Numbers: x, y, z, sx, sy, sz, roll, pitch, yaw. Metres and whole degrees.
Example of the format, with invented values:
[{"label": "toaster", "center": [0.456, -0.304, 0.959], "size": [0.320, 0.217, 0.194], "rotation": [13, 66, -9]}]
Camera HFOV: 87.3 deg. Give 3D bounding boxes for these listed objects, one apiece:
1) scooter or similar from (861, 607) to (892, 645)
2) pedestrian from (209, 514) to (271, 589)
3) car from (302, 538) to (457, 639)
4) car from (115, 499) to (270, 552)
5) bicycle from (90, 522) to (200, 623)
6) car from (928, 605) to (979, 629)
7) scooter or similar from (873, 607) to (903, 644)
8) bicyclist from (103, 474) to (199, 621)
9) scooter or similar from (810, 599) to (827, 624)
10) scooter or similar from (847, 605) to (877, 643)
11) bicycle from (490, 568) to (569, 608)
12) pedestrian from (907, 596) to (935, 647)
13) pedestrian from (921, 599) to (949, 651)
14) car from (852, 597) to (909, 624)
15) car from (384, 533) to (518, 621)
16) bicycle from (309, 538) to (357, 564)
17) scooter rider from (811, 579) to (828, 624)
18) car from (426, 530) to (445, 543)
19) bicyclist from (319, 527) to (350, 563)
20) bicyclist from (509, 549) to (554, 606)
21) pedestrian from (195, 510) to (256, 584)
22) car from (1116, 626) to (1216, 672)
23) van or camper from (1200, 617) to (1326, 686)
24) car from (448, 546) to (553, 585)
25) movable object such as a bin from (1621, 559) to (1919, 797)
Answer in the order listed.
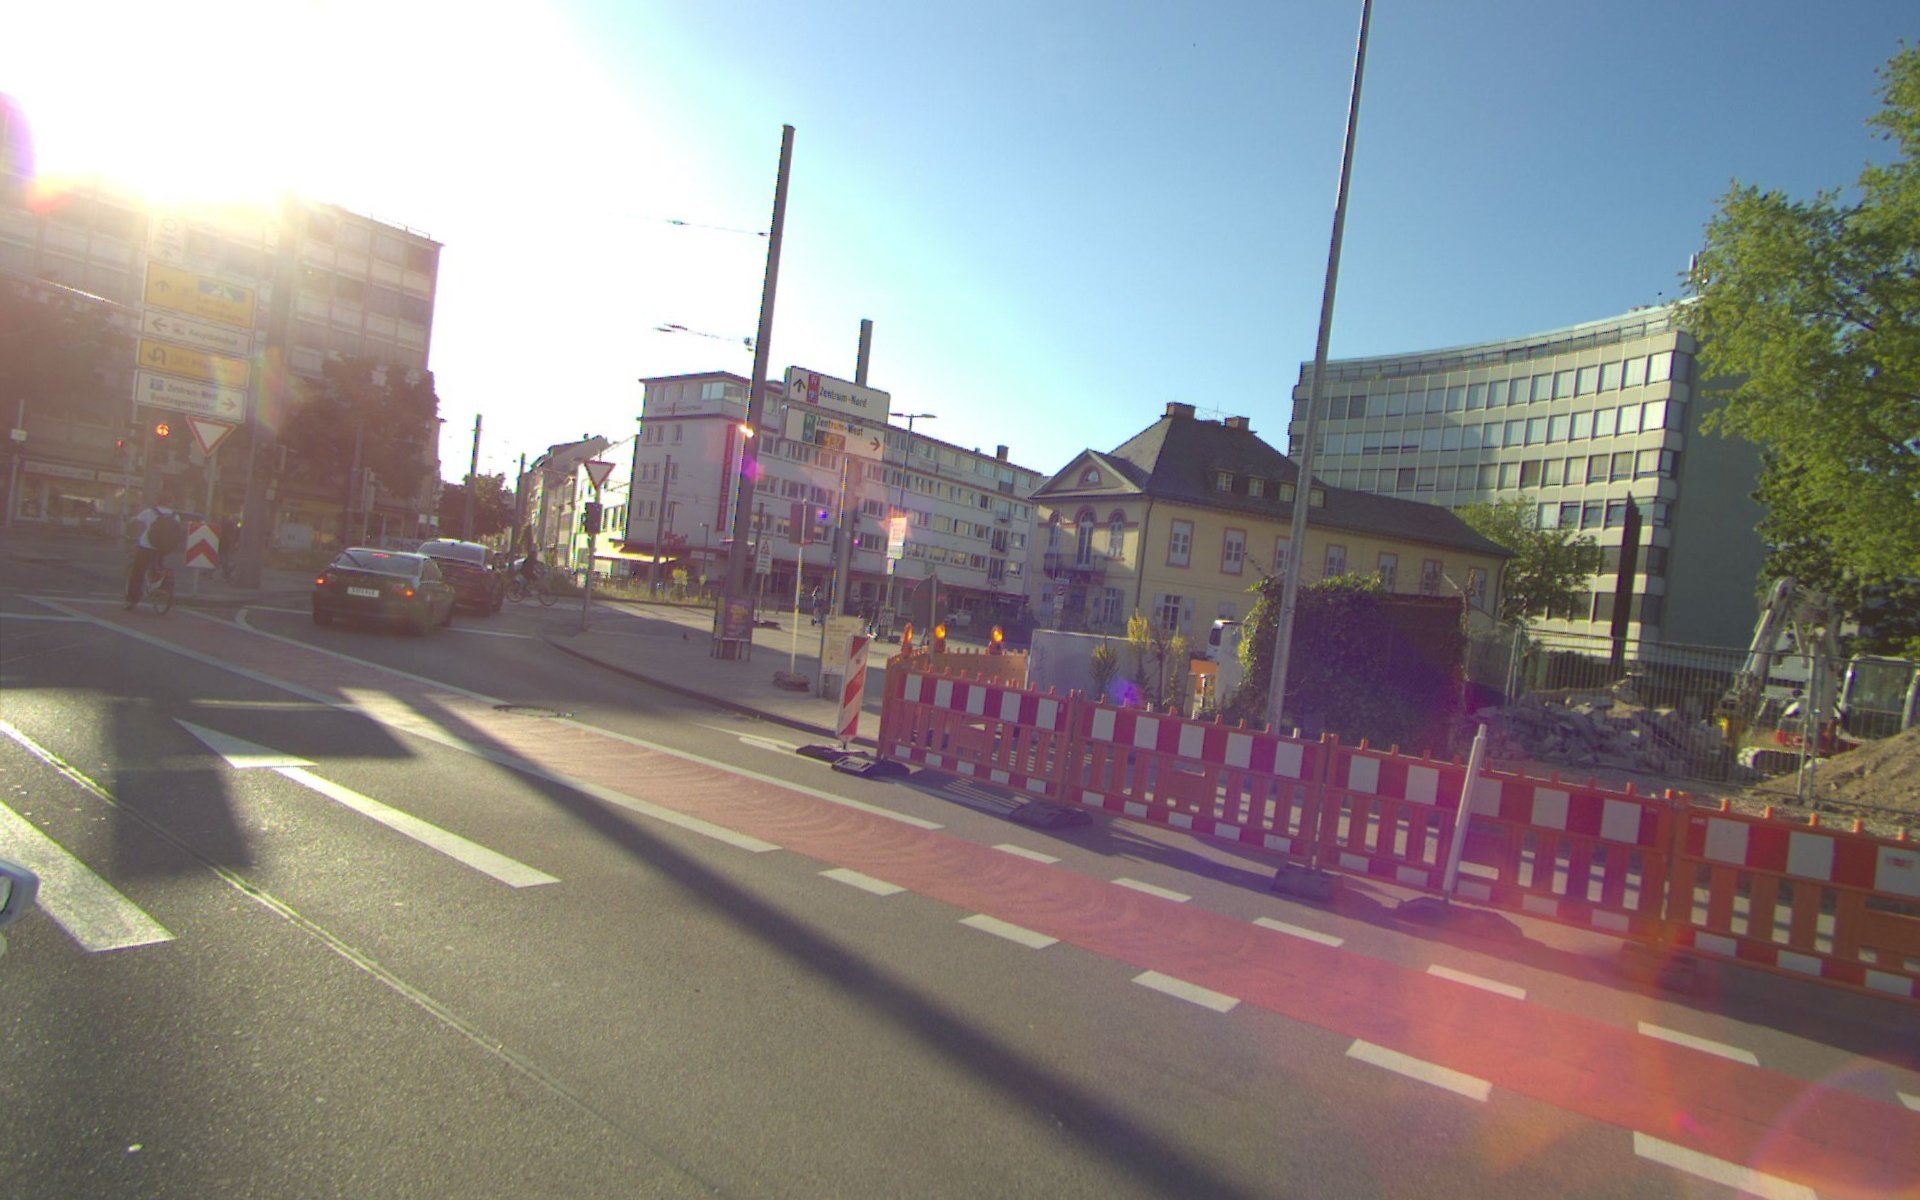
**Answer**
[{"label": "scooter or similar", "center": [-3.101, 0.961, 37.326], "size": [0.563, 1.274, 1.335], "rotation": [6, 0, -26]}, {"label": "pedestrian", "center": [-16.751, -1.131, 23.424], "size": [0.644, 1.617, 0.879], "rotation": [7, 1, 32]}, {"label": "car", "center": [-10.353, -0.230, 18.234], "size": [1.726, 1.444, 3.980], "rotation": [7, -1, -22]}, {"label": "car", "center": [-32.582, -3.127, 42.828], "size": [1.972, 1.497, 4.913], "rotation": [7, -1, 41]}, {"label": "bicycle", "center": [-12.292, -0.425, 15.147], "size": [2.016, 1.238, 0.645], "rotation": [9, 0, 35]}, {"label": "car", "center": [-0.553, 1.476, 88.501], "size": [1.972, 1.597, 4.304], "rotation": [7, 0, 41]}, {"label": "scooter or similar", "center": [-2.724, 0.943, 37.957], "size": [0.563, 1.274, 1.335], "rotation": [6, 0, -26]}, {"label": "bicyclist", "center": [-12.125, -0.792, 15.081], "size": [1.050, 2.037, 0.644], "rotation": [9, 0, 35]}, {"label": "scooter or similar", "center": [-6.358, 0.530, 45.171], "size": [0.485, 1.046, 1.386], "rotation": [7, 0, -1]}, {"label": "scooter or similar", "center": [-3.609, 0.884, 37.030], "size": [0.563, 1.274, 1.335], "rotation": [6, 0, -26]}, {"label": "bicycle", "center": [-13.880, -0.382, 32.504], "size": [0.672, 1.039, 2.226], "rotation": [7, -1, 37]}, {"label": "pedestrian", "center": [-1.464, 0.808, 38.028], "size": [0.587, 1.847, 0.727], "rotation": [7, 1, 25]}, {"label": "pedestrian", "center": [-0.922, 0.929, 37.567], "size": [0.587, 1.847, 0.727], "rotation": [7, 1, 25]}, {"label": "car", "center": [-6.394, 0.860, 80.987], "size": [1.972, 1.597, 4.304], "rotation": [7, 0, 41]}, {"label": "car", "center": [-12.454, -0.557, 24.902], "size": [1.970, 1.713, 3.988], "rotation": [9, -1, -15]}, {"label": "bicycle", "center": [-33.204, -2.572, 53.298], "size": [0.666, 1.112, 1.975], "rotation": [7, 0, 30]}, {"label": "scooter rider", "center": [-6.323, 0.079, 45.195], "size": [0.492, 1.944, 0.533], "rotation": [7, 1, -1]}, {"label": "car", "center": [-65.326, -7.918, 125.312], "size": [1.977, 1.415, 3.970], "rotation": [6, 0, -29]}, {"label": "bicyclist", "center": [-33.150, -2.909, 53.329], "size": [0.666, 1.760, 1.041], "rotation": [7, 1, 30]}, {"label": "bicyclist", "center": [-13.837, -0.720, 32.500], "size": [0.681, 1.682, 0.958], "rotation": [7, 0, 37]}, {"label": "pedestrian", "center": [-17.387, -1.240, 23.825], "size": [0.644, 1.617, 0.879], "rotation": [7, 1, 32]}, {"label": "car", "center": [9.759, 2.325, 47.742], "size": [4.099, 1.593, 1.993], "rotation": [7, 0, -16]}, {"label": "van or camper", "center": [14.917, 2.531, 49.617], "size": [5.520, 2.668, 1.994], "rotation": [7, 0, -15]}, {"label": "car", "center": [-25.659, -1.935, 56.298], "size": [1.974, 1.497, 4.909], "rotation": [7, -1, 44]}, {"label": "movable object such as a bin", "center": [15.299, 1.463, 18.293], "size": [6.015, 3.602, 2.839], "rotation": [7, 0, -31]}]
